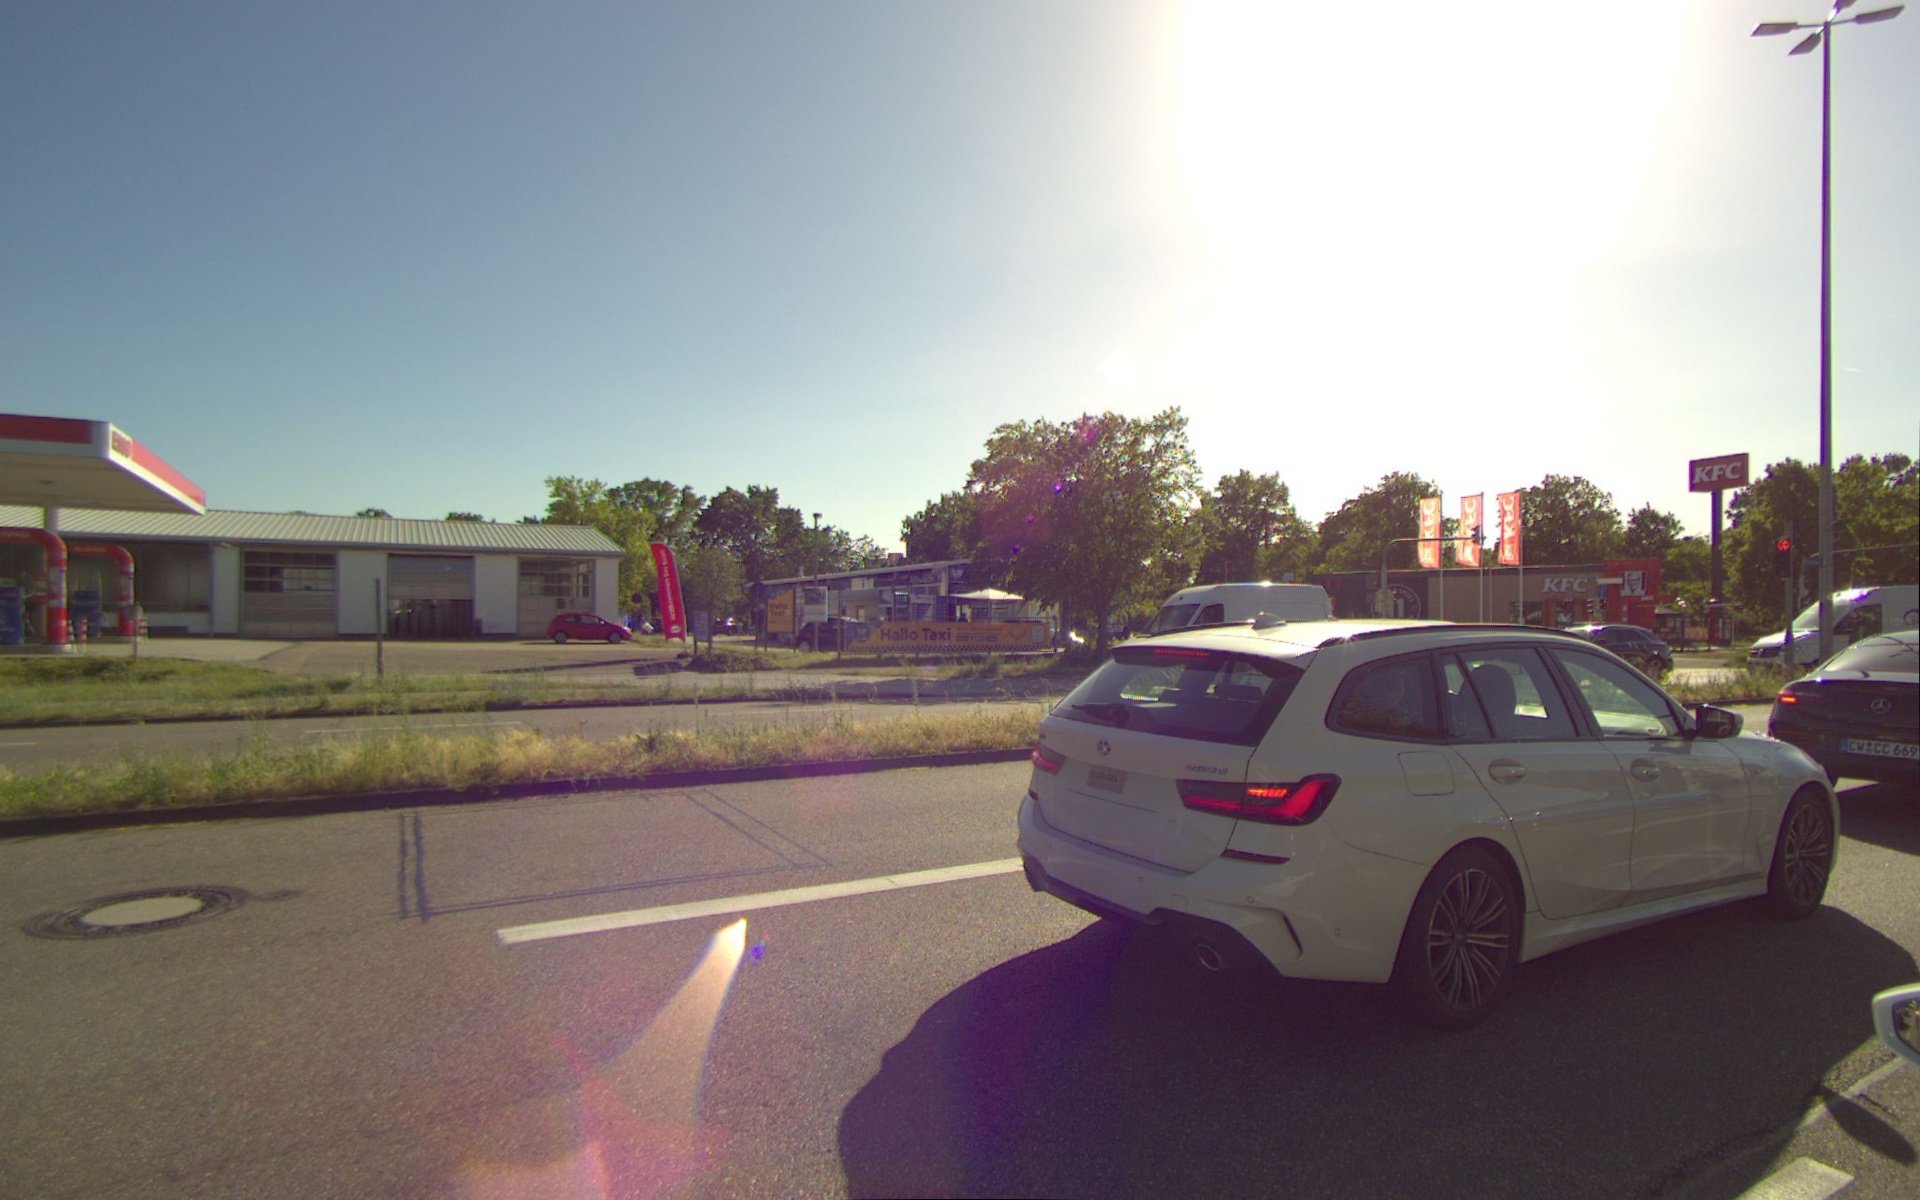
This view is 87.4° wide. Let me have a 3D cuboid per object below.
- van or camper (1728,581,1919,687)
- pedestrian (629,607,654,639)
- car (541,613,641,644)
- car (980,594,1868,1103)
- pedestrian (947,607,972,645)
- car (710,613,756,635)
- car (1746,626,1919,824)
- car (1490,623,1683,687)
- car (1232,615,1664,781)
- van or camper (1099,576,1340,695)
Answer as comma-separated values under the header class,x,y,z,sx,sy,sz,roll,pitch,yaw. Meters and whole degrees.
class,x,y,z,sx,sy,sz,roll,pitch,yaw
van or camper,24.009,0.860,25.714,6.616,2.606,2.186,0,-1,11
pedestrian,-18.322,1.329,57.736,1.088,1.787,1.149,1,-1,-33
car,-18.186,1.405,49.472,4.486,1.458,1.741,1,-1,-26
car,2.428,0.790,4.908,4.409,1.529,1.760,1,-1,-30
pedestrian,-0.015,1.244,48.878,0.804,1.828,0.951,0,-1,32
car,-19.919,2.120,88.263,2.085,1.840,4.000,0,-1,20
car,8.807,0.958,8.628,4.409,1.433,1.760,1,-1,-30
car,17.648,1.530,28.359,4.533,1.675,1.995,1,-1,-12
car,5.181,0.904,10.599,4.345,1.448,1.851,1,-1,-26
van or camper,6.467,0.854,24.838,5.876,2.686,1.988,1,-1,-25
